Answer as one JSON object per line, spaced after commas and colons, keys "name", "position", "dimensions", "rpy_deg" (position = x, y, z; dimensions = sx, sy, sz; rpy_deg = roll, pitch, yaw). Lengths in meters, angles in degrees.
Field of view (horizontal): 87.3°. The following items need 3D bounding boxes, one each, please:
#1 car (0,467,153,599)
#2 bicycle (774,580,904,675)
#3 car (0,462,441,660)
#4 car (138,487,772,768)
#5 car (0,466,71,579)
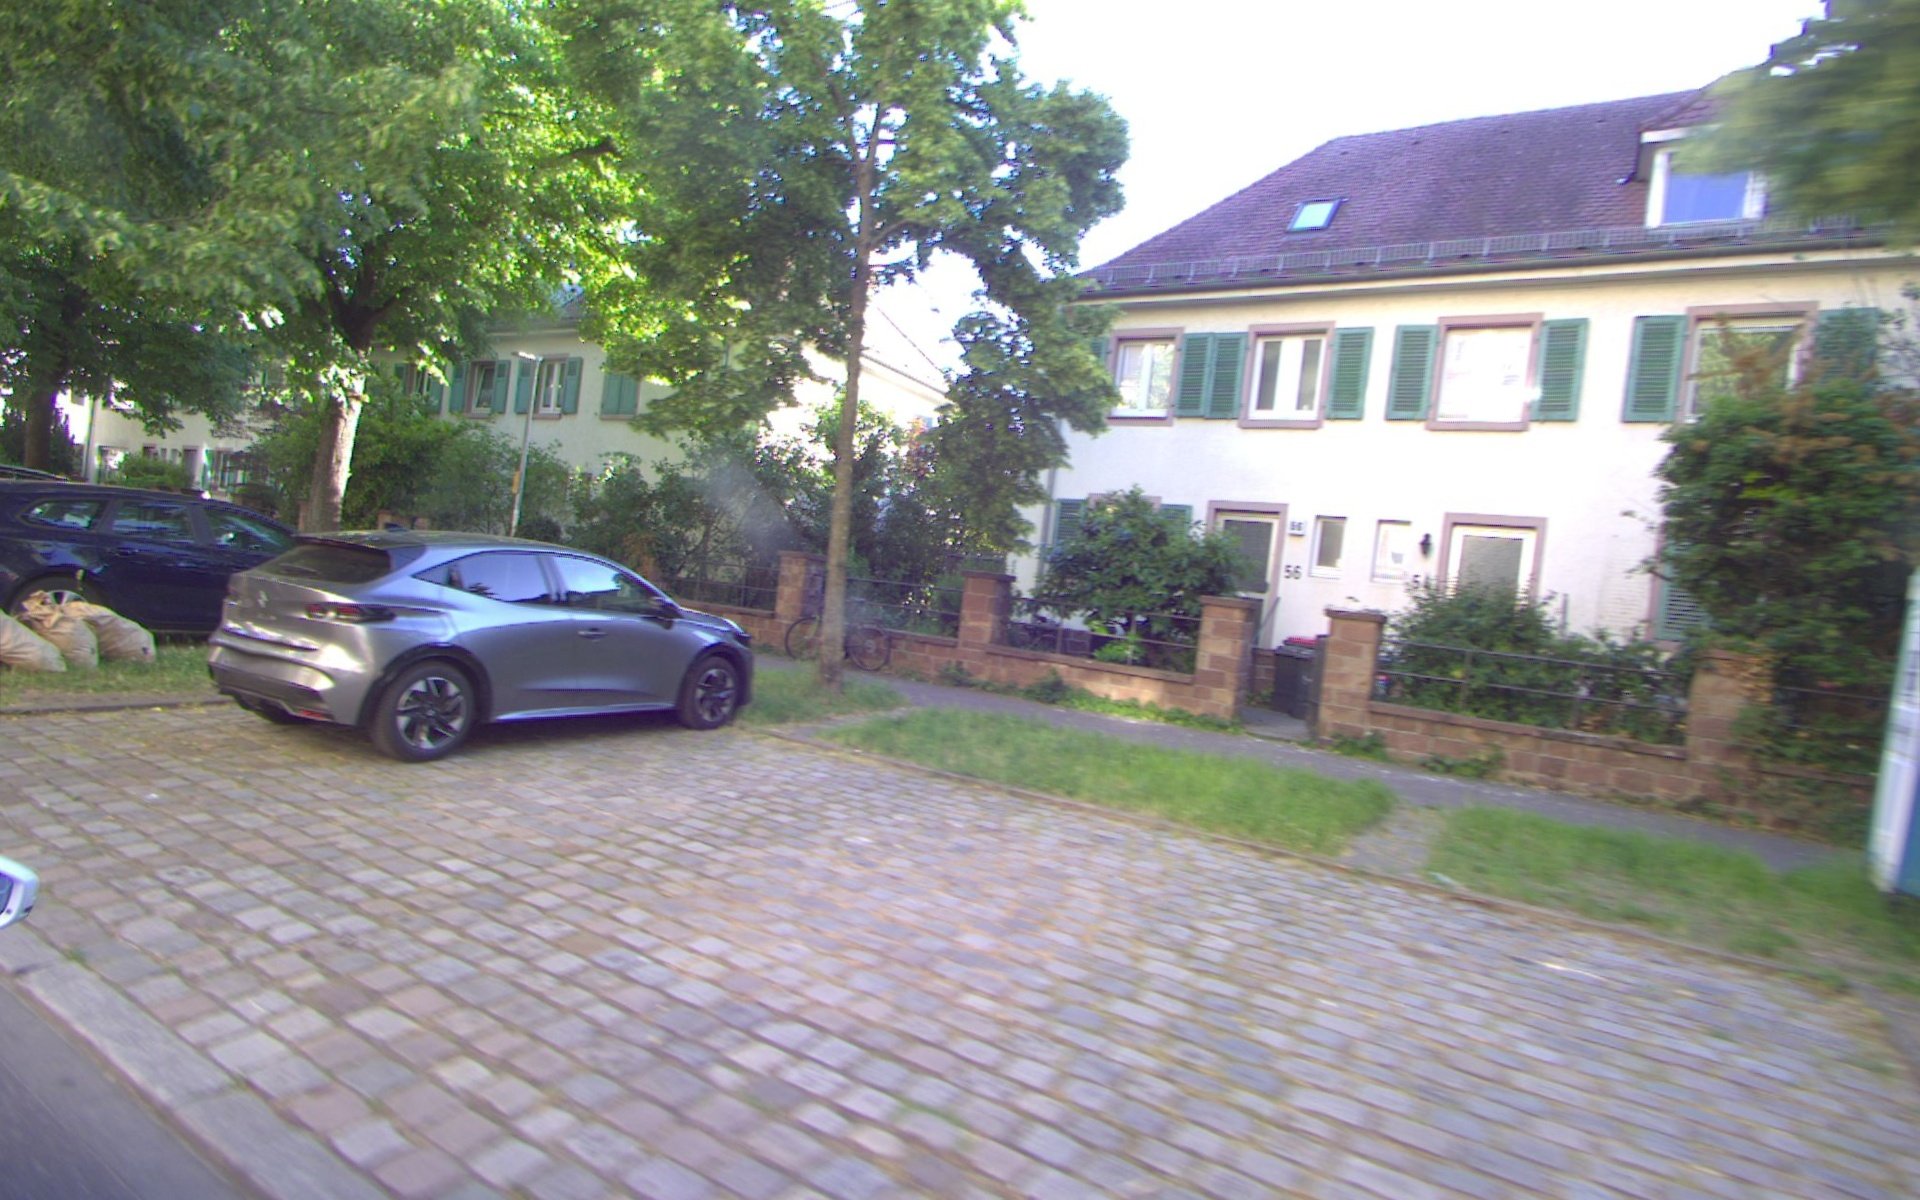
{"name": "car", "position": [-13.420, -1.022, 13.386], "dimensions": [1.663, 1.619, 3.775], "rpy_deg": [7, 0, 33]}
{"name": "bicycle", "position": [-1.733, 0.376, 14.290], "dimensions": [1.789, 1.143, 0.564], "rpy_deg": [6, 2, 32]}
{"name": "car", "position": [-7.910, -0.304, 10.355], "dimensions": [1.664, 1.619, 4.225], "rpy_deg": [5, -1, 33]}
{"name": "car", "position": [-3.442, 0.235, 7.723], "dimensions": [1.661, 1.472, 4.040], "rpy_deg": [7, 0, 28]}
{"name": "car", "position": [-15.712, -1.317, 14.383], "dimensions": [1.675, 1.619, 4.141], "rpy_deg": [5, -1, 33]}
